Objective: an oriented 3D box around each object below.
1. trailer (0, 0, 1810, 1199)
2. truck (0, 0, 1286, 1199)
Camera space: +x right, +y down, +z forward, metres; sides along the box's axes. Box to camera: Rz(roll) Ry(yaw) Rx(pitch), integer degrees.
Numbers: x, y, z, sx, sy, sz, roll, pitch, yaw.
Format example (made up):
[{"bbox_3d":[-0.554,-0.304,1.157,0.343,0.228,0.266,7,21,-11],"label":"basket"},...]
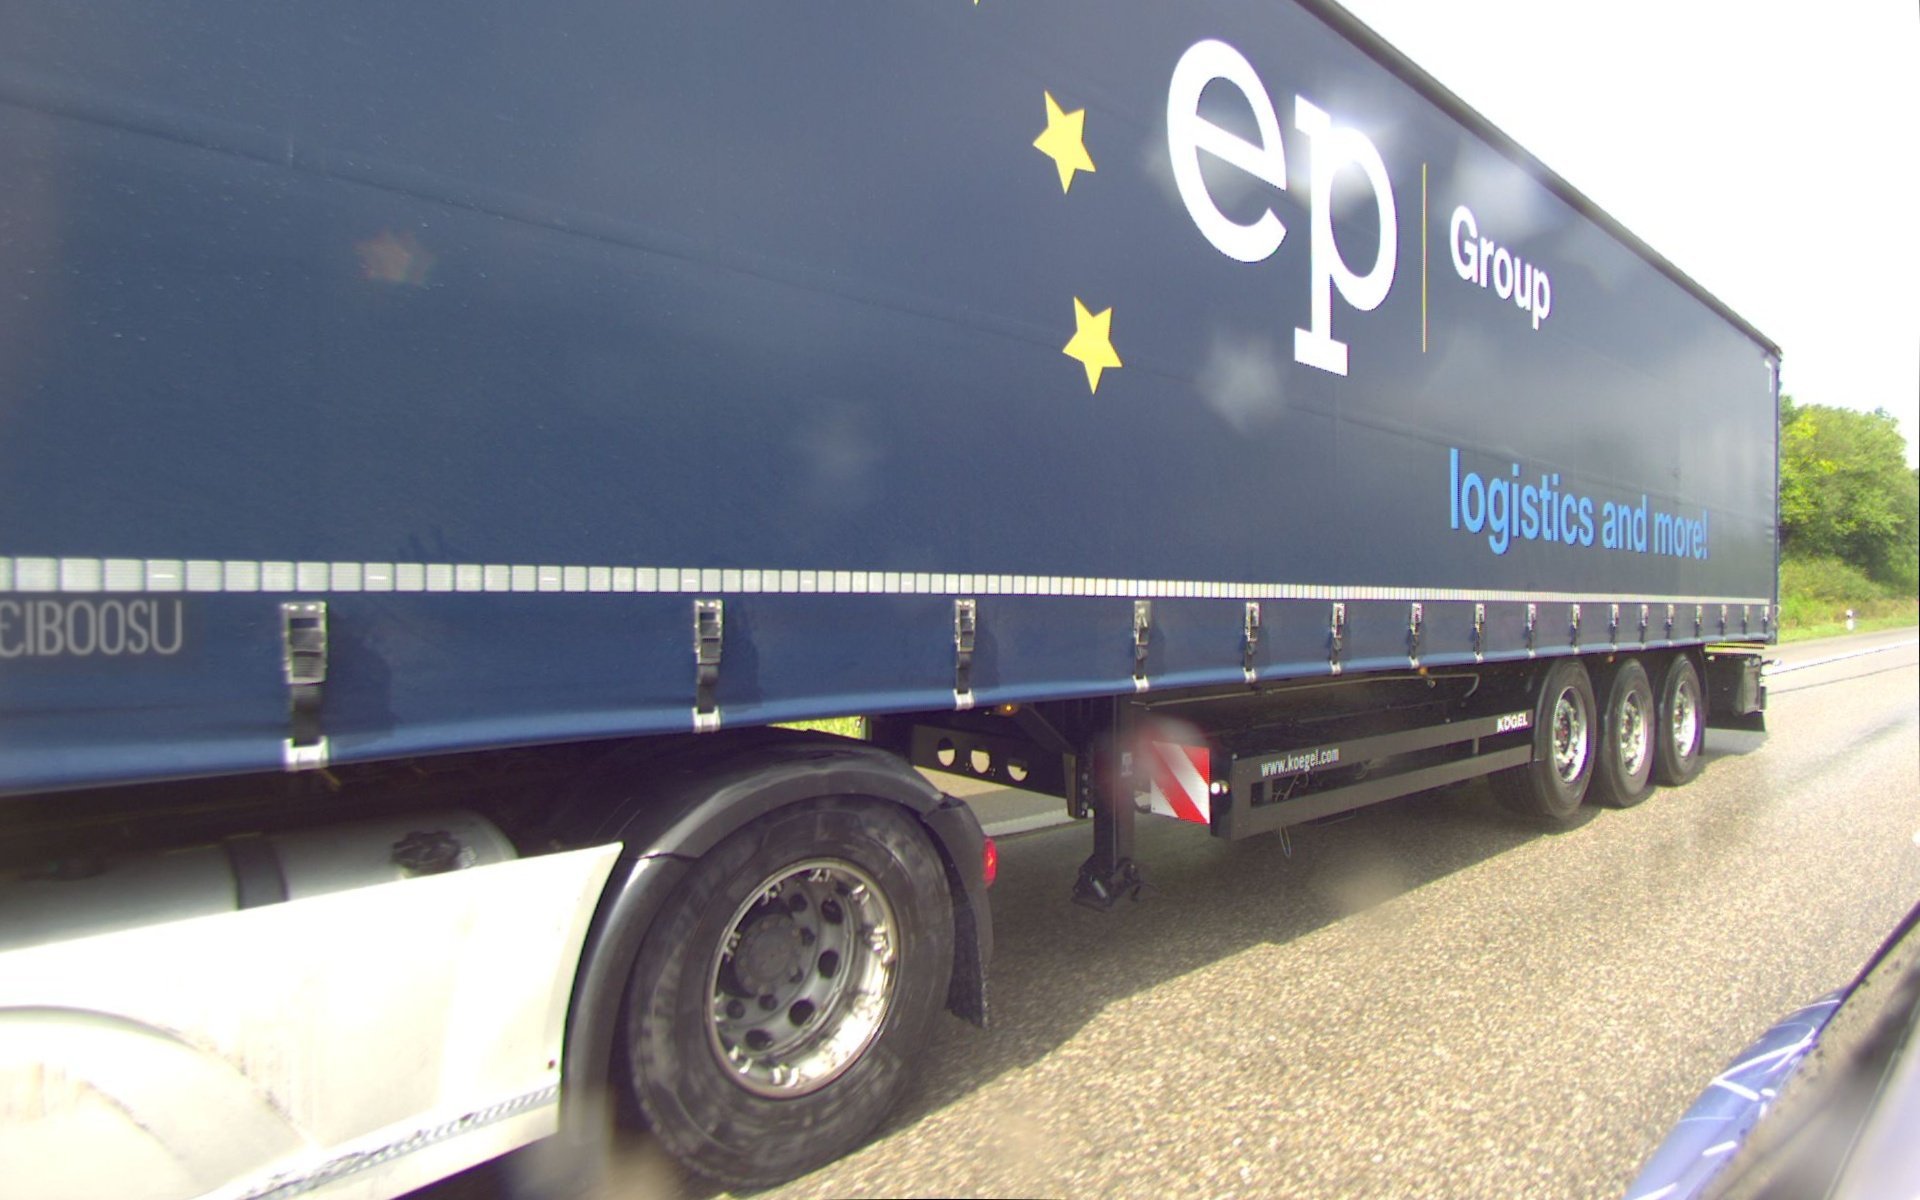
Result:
[{"bbox_3d":[2.126,-0.628,6.263,13.818,4.046,2.639,-1,0,-41],"label":"trailer"},{"bbox_3d":[-2.366,-0.584,2.348,7.163,4.046,2.611,-1,0,-41],"label":"truck"}]
